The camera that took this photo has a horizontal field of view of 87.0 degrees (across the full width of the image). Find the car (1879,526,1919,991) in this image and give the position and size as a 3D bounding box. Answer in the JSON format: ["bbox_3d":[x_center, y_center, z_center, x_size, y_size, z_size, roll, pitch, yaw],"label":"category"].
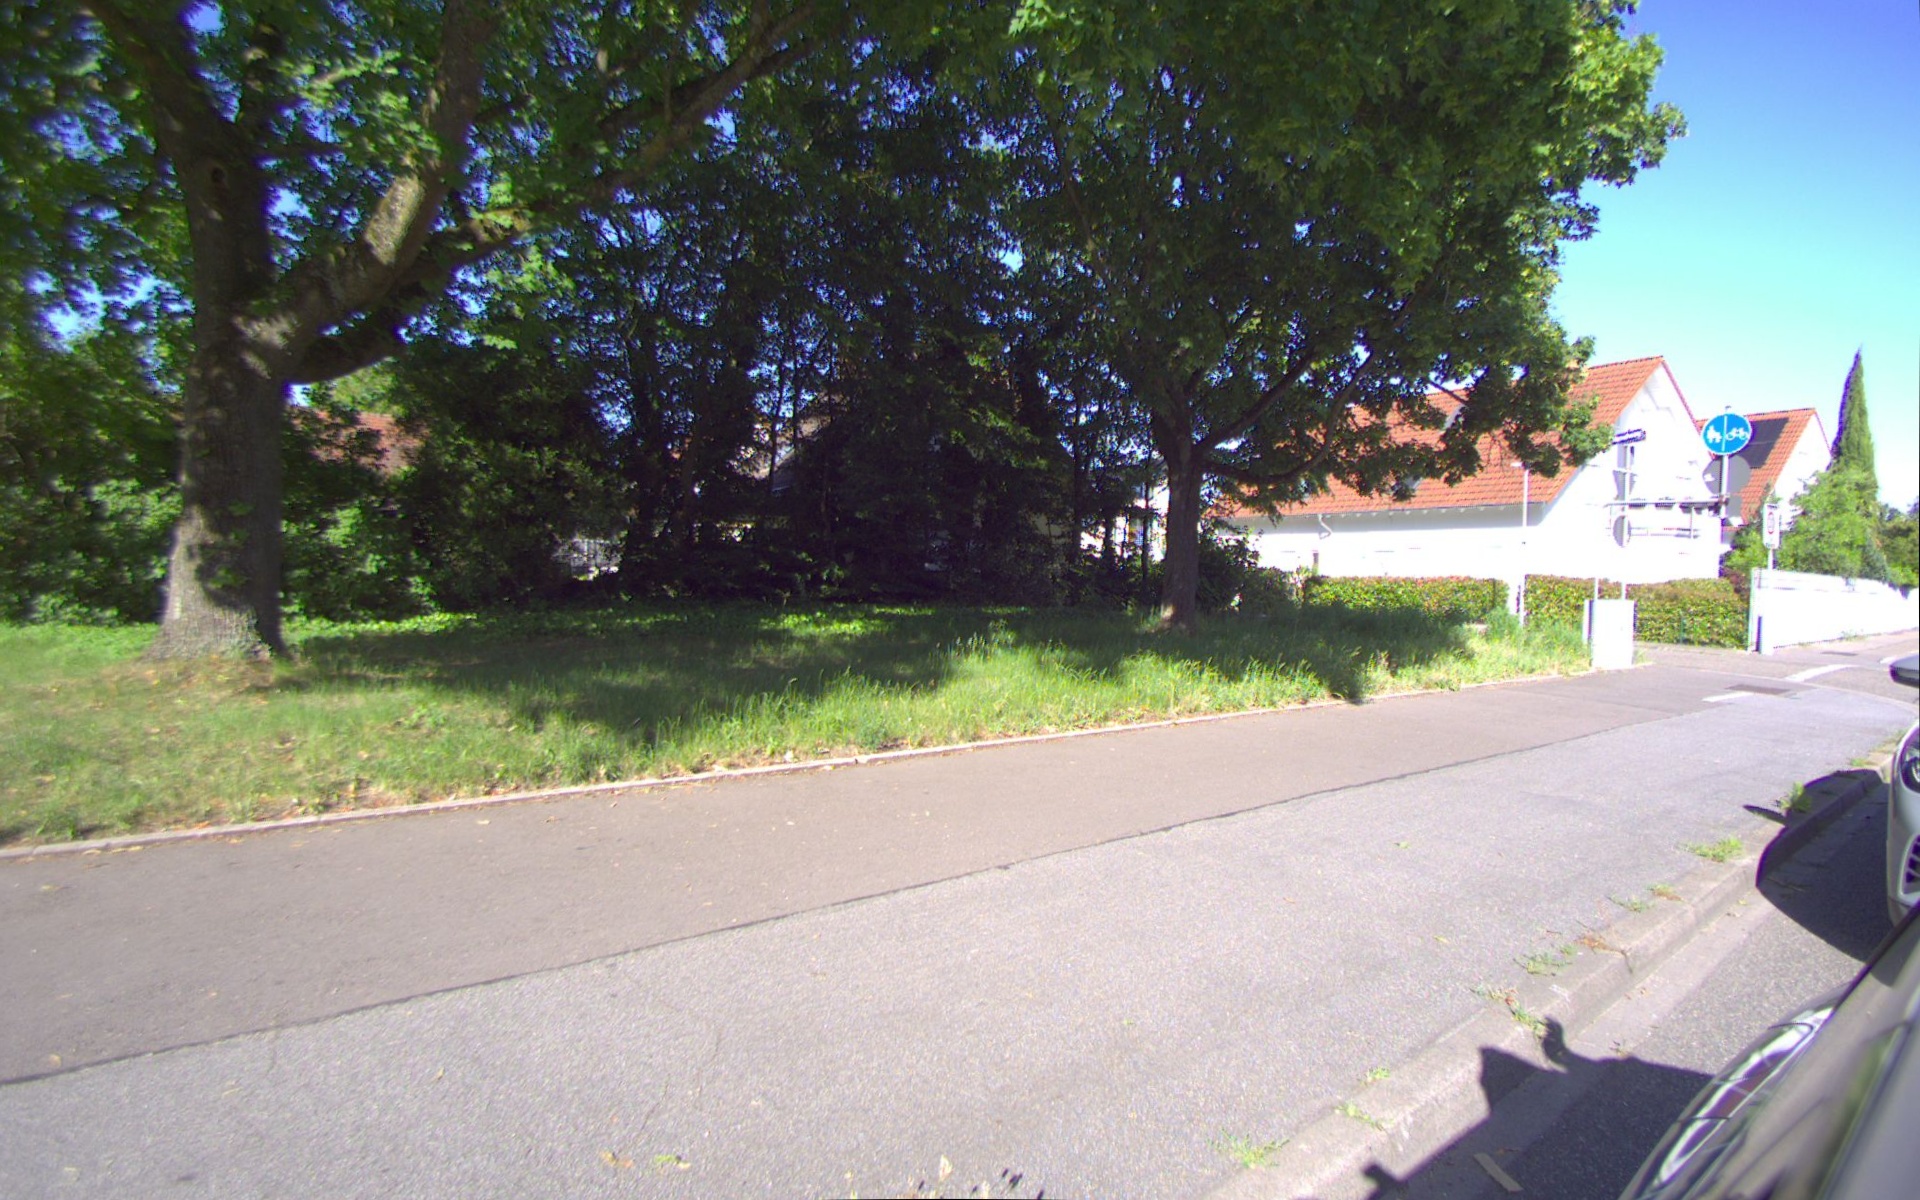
[{"bbox_3d":[5.636,0.604,4.435,4.133,1.710,1.857,0,3,-41],"label":"car"}]
